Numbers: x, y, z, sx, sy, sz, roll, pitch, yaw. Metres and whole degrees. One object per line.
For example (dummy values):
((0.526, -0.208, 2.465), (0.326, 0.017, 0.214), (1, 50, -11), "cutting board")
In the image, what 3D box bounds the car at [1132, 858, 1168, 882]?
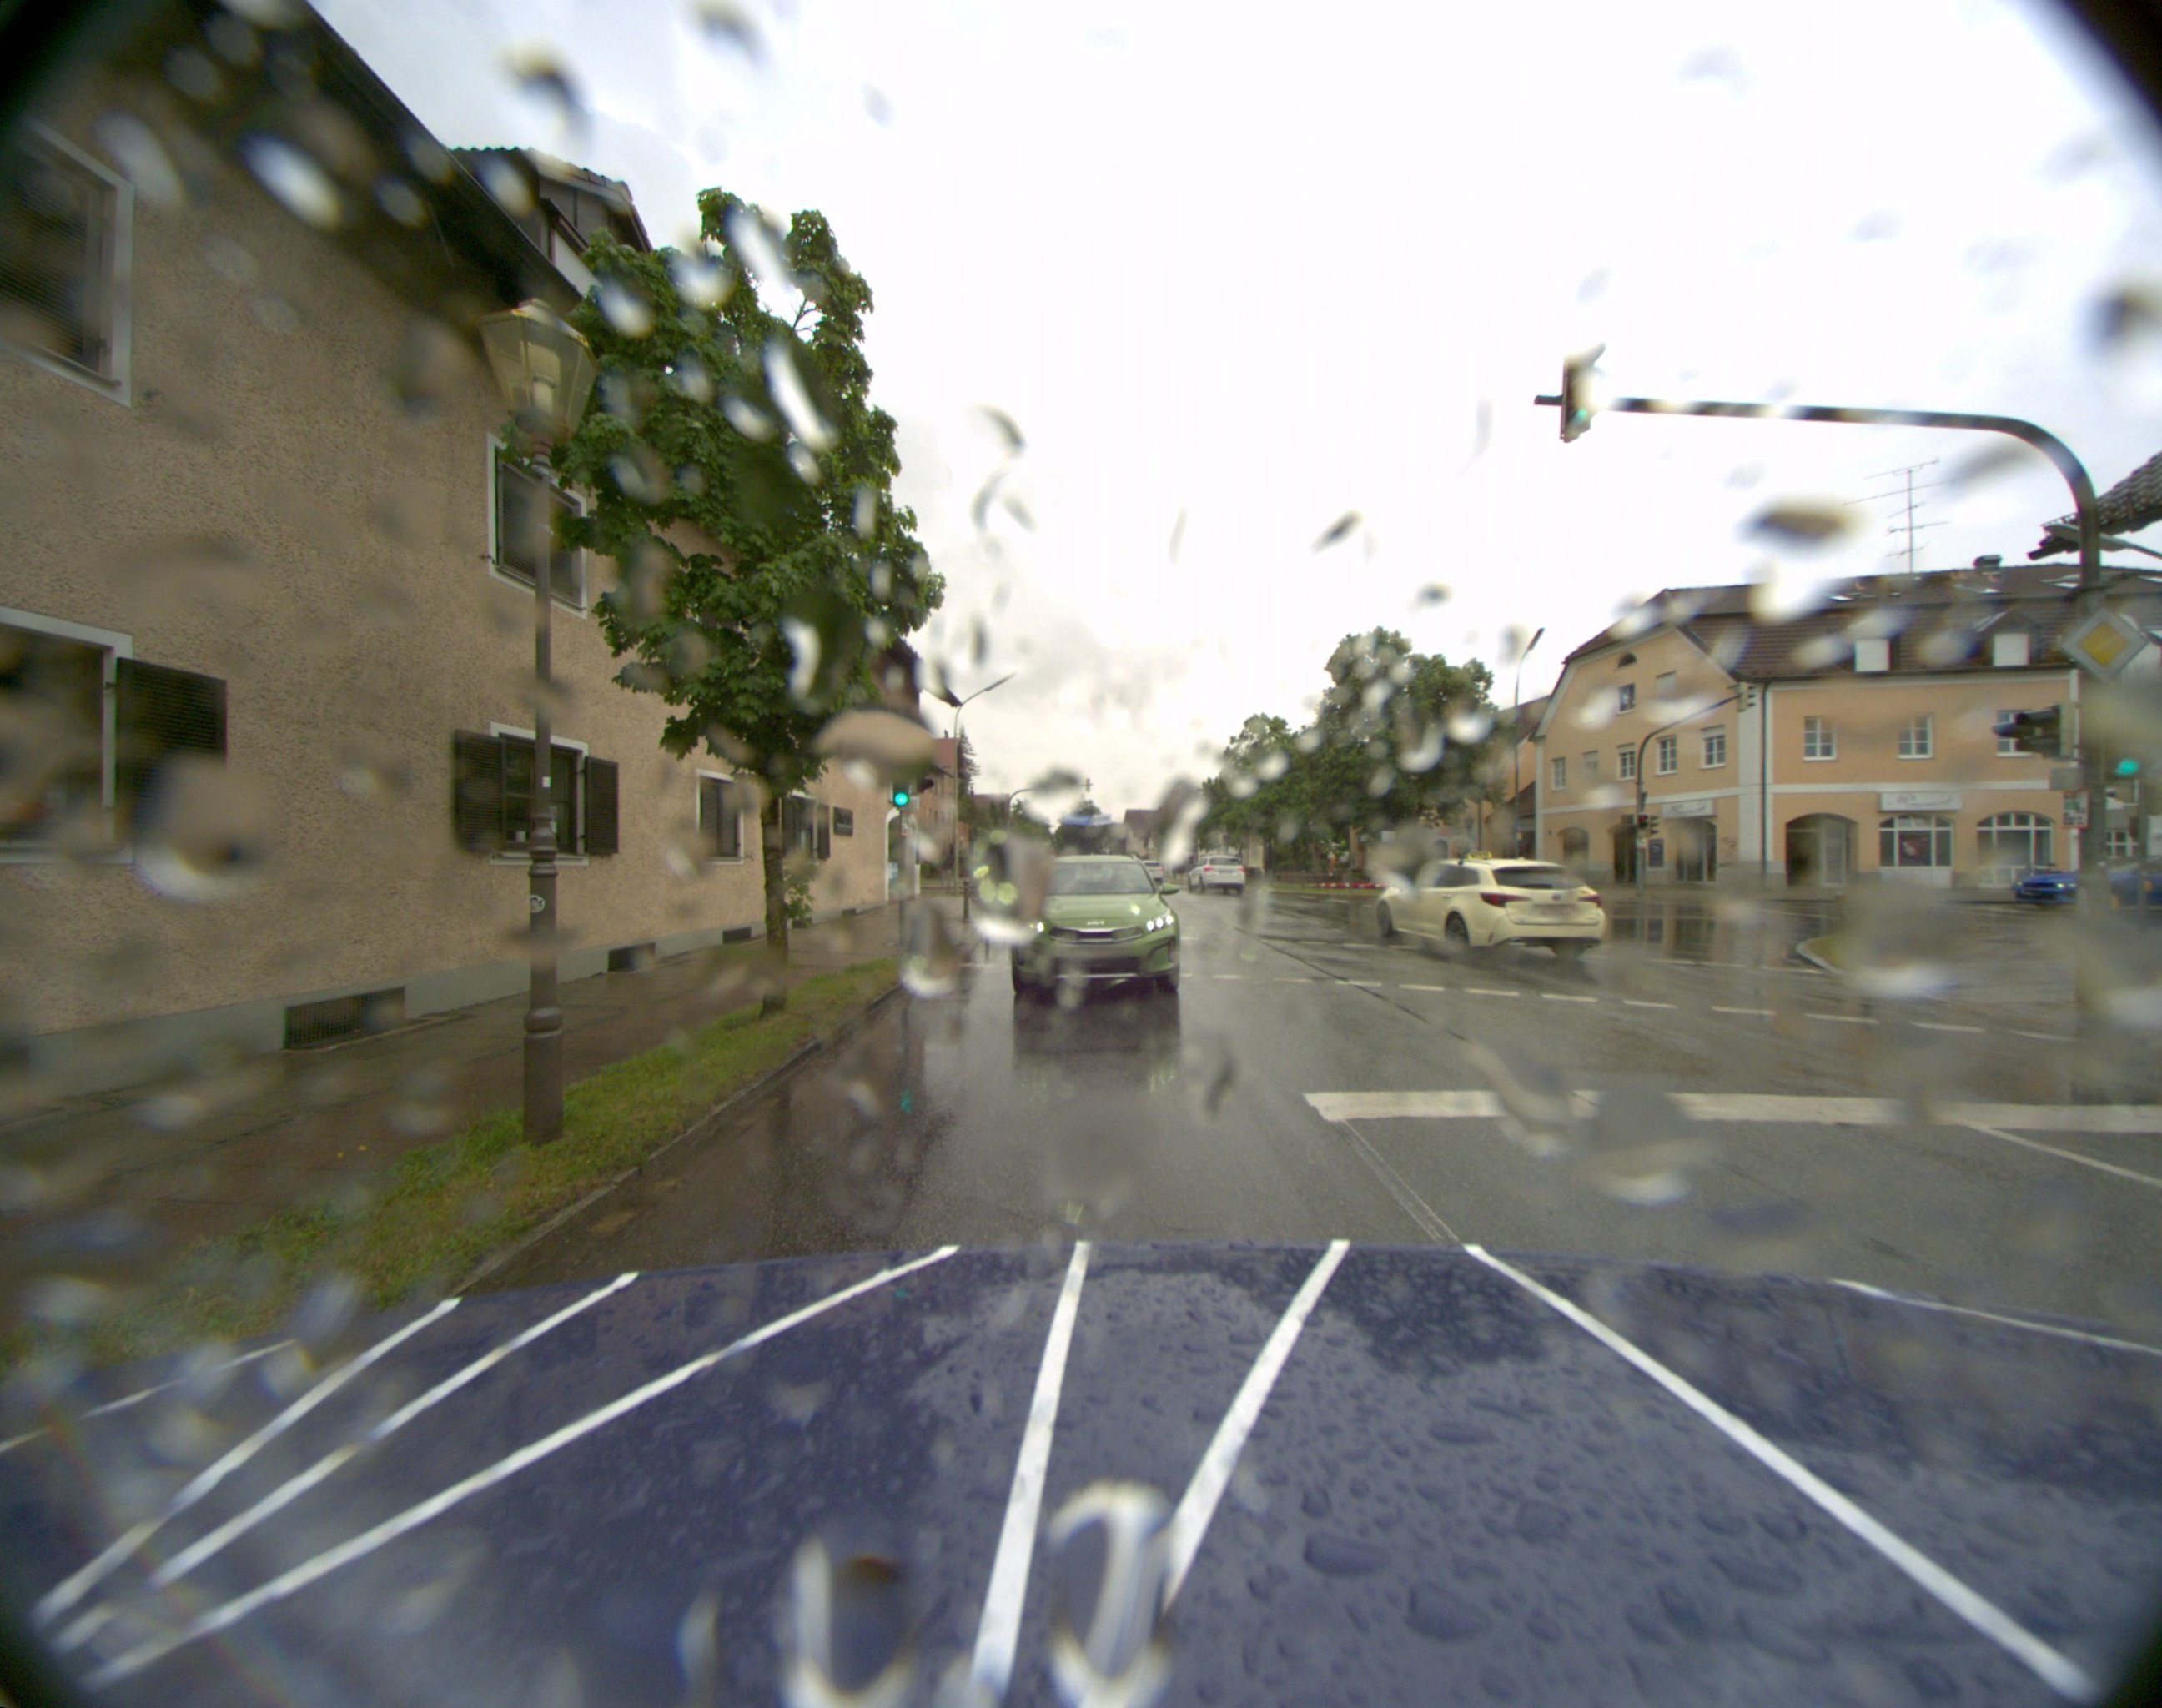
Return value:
((4.750, 1.082, 52.844), (1.972, 1.553, 4.150), (0, 0, -3), "car")

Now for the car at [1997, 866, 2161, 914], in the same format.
((27.265, 0.913, 19.686), (4.352, 1.178, 1.691), (0, 0, 15), "car")

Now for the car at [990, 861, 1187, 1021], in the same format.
((0.110, 0.871, 9.450), (1.872, 1.504, 4.105), (-2, 0, 1), "car")

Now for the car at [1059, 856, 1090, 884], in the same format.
((-0.319, 0.878, 42.998), (1.637, 1.508, 4.000), (1, 0, 1), "car")

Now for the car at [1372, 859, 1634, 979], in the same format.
((6.306, 0.867, 12.009), (1.756, 1.502, 4.230), (1, 0, 0), "car")

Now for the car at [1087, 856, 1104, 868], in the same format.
((1.750, 1.015, 95.815), (1.921, 1.524, 3.898), (0, 0, -2), "car")

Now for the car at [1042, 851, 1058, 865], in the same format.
((-4.587, 0.587, 111.443), (2.218, 1.977, 4.952), (1, 0, -5), "car")

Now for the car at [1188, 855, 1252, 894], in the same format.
((5.897, 0.838, 32.698), (1.931, 1.557, 4.125), (0, 0, -1), "car")

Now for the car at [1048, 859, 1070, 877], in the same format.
((-1.989, 1.264, 70.150), (1.839, 1.508, 4.669), (1, 0, 1), "car")
